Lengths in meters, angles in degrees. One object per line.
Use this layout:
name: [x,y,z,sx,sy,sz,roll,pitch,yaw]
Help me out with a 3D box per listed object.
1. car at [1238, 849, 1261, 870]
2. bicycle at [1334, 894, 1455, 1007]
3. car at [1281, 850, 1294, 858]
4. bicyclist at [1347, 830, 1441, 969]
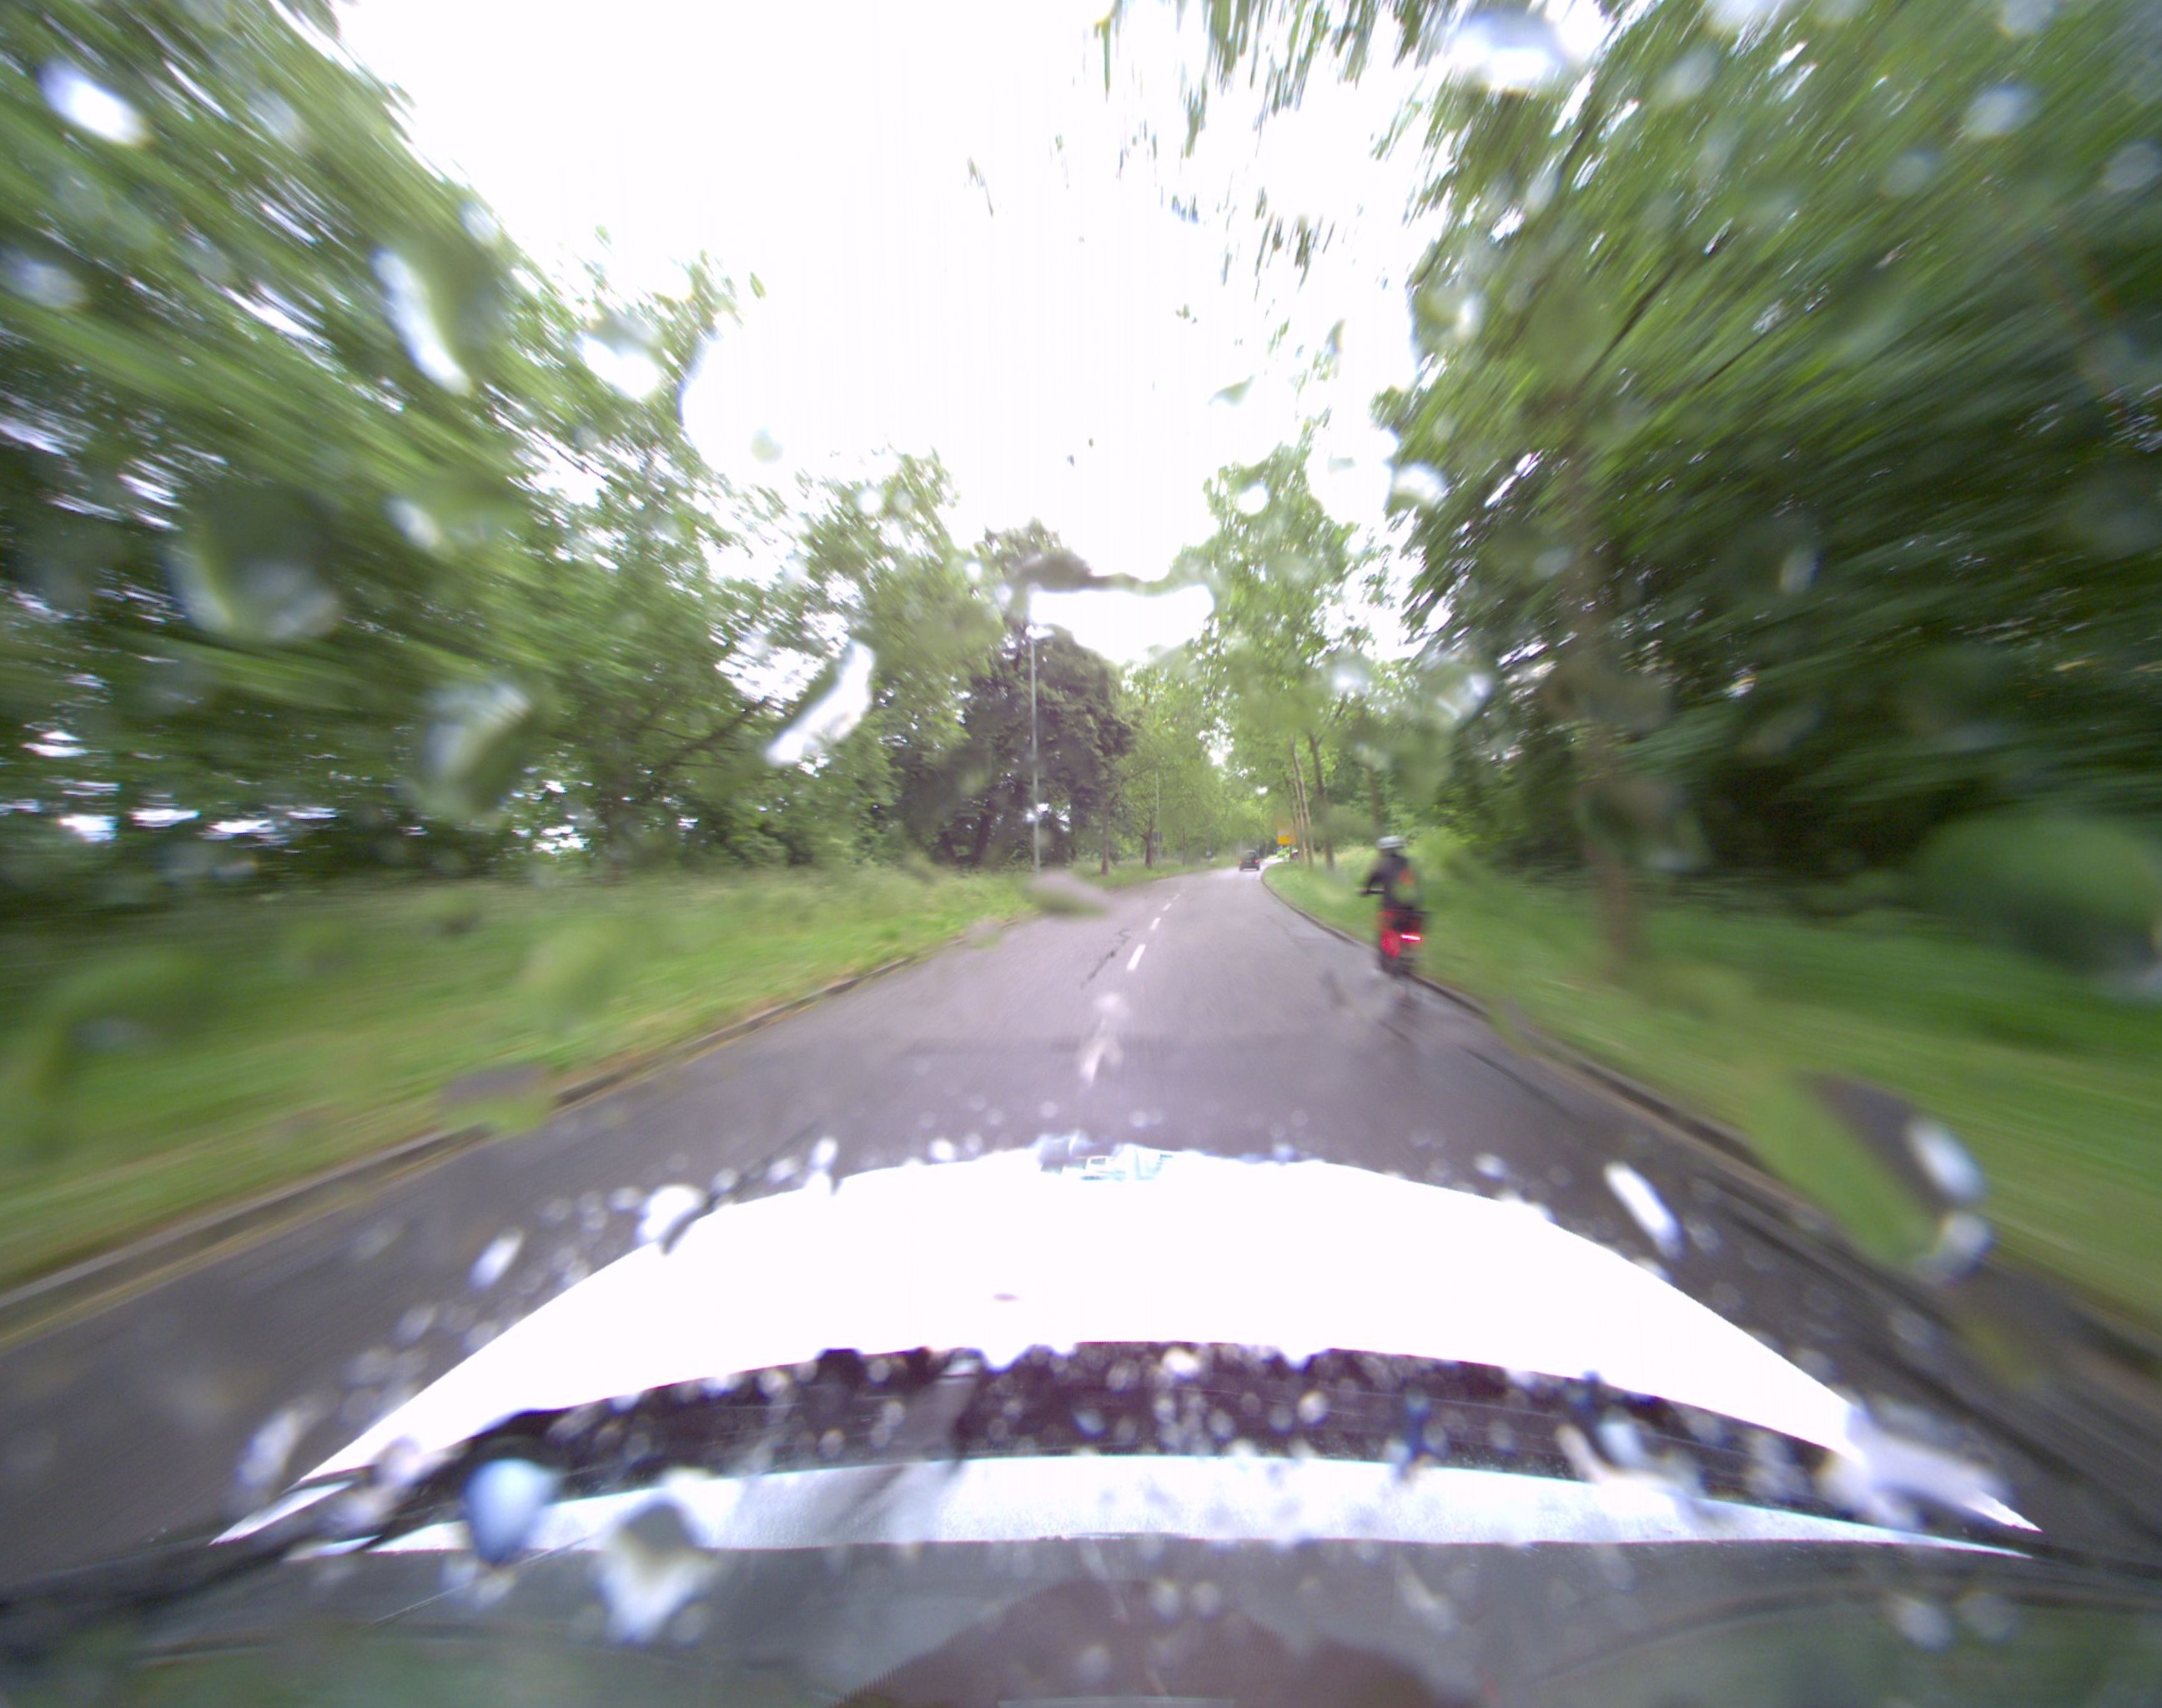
car: [15.608,0.510,75.330,1.972,1.926,4.014,-1,0,13]
bicycle: [3.370,0.989,8.971,0.726,0.974,2.177,0,0,6]
car: [39.100,-0.061,154.225,1.778,1.510,4.023,-1,0,25]
bicyclist: [3.351,0.461,8.790,0.726,1.411,0.975,0,0,6]
